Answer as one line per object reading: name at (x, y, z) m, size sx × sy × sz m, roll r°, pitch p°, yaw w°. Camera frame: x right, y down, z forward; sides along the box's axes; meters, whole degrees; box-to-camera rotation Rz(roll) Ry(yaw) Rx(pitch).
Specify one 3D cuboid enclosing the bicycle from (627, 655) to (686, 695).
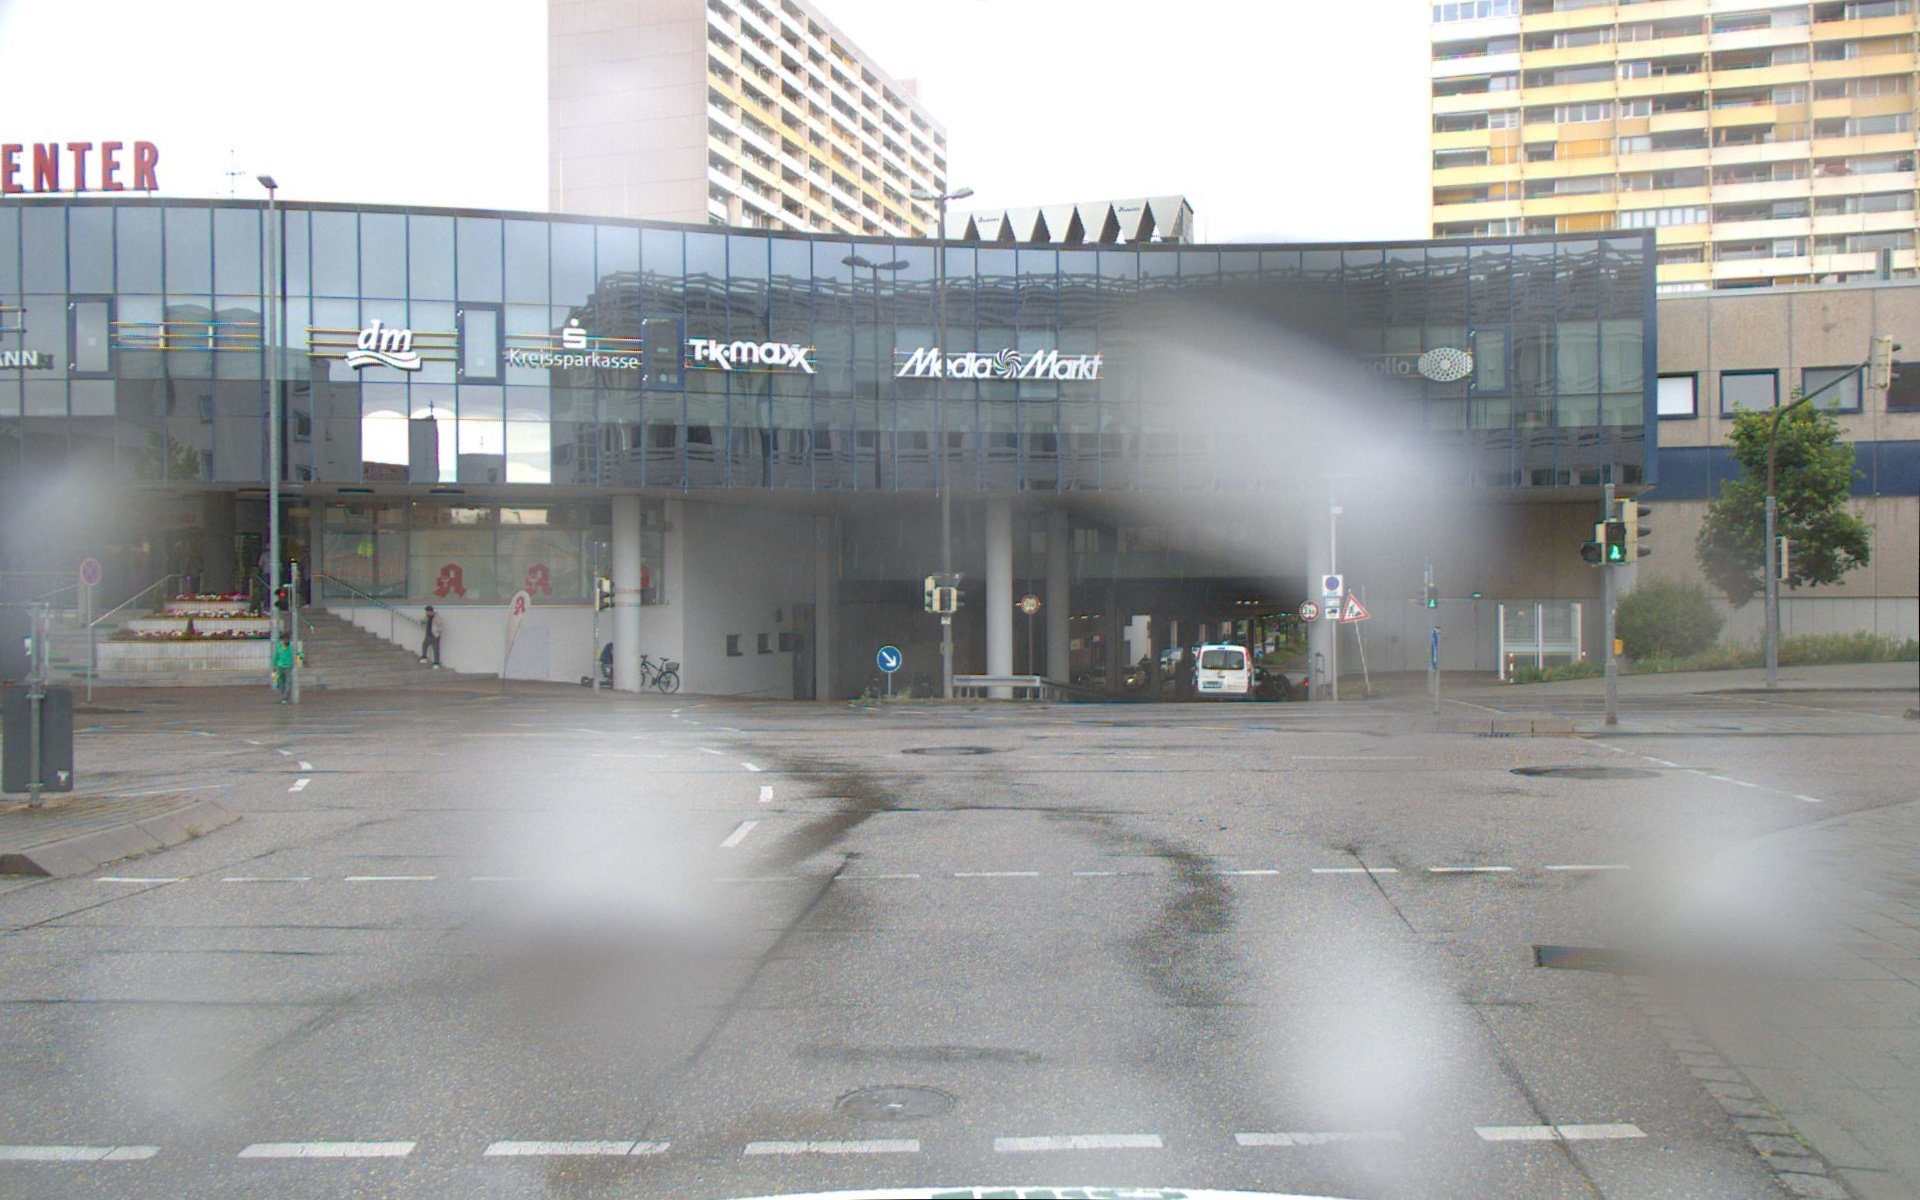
bicycle at (-8.901, 2.214, 48.521) m, size 1.566 × 1.035 × 0.447 m, roll 7°, pitch -4°, yaw -32°

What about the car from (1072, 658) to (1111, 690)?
car at (7.671, 4.294, 96.125) m, size 1.797 × 1.758 × 4.003 m, roll 0°, pitch -1°, yaw 11°

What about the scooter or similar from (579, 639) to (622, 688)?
scooter or similar at (-10.437, 1.833, 48.002) m, size 1.147 × 1.397 × 0.487 m, roll 1°, pitch -1°, yaw -16°

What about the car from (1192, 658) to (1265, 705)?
car at (9.187, 2.803, 56.359) m, size 1.721 × 1.490 × 3.943 m, roll -2°, pitch -4°, yaw 20°

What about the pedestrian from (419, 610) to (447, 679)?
pedestrian at (-14.906, 1.261, 46.798) m, size 0.643 × 1.942 × 0.593 m, roll 1°, pitch -1°, yaw -9°

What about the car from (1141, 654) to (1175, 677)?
car at (13.736, 4.514, 114.725) m, size 1.951 × 1.489 × 4.003 m, roll -1°, pitch -1°, yaw 12°

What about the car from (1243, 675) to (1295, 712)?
car at (12.356, 3.755, 66.073) m, size 1.741 × 1.425 × 4.002 m, roll -1°, pitch -4°, yaw 15°

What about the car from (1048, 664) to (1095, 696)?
car at (6.174, 4.397, 91.302) m, size 1.874 × 1.616 × 3.941 m, roll -1°, pitch -1°, yaw 15°

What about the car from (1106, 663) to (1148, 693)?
car at (10.336, 4.792, 101.947) m, size 1.951 × 1.693 × 4.003 m, roll 1°, pitch -1°, yaw 15°

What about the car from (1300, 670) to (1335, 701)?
car at (19.728, 4.675, 91.116) m, size 1.847 × 1.517 × 3.844 m, roll 1°, pitch -1°, yaw 13°

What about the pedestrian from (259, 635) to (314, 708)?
pedestrian at (-15.642, 1.659, 38.422) m, size 0.929 × 1.652 × 0.809 m, roll -1°, pitch -1°, yaw 0°

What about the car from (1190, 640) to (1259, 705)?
car at (7.817, 2.124, 48.702) m, size 1.884 × 1.829 × 4.299 m, roll -1°, pitch -2°, yaw 10°

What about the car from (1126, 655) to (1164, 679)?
car at (12.287, 4.429, 109.622) m, size 1.951 × 1.489 × 4.003 m, roll -1°, pitch -1°, yaw 15°

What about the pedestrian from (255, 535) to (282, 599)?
pedestrian at (-20.165, -0.946, 48.229) m, size 0.622 × 1.839 × 0.501 m, roll 1°, pitch -1°, yaw -18°

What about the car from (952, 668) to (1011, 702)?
car at (0.987, 3.826, 74.369) m, size 1.733 × 1.490 × 3.878 m, roll -1°, pitch -3°, yaw 15°

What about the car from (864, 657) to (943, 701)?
car at (-2.100, 3.026, 62.540) m, size 1.852 × 1.496 × 4.029 m, roll -1°, pitch -5°, yaw 16°

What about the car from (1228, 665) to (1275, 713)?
car at (10.800, 3.323, 61.201) m, size 1.598 × 1.640 × 4.265 m, roll -2°, pitch -4°, yaw 11°
